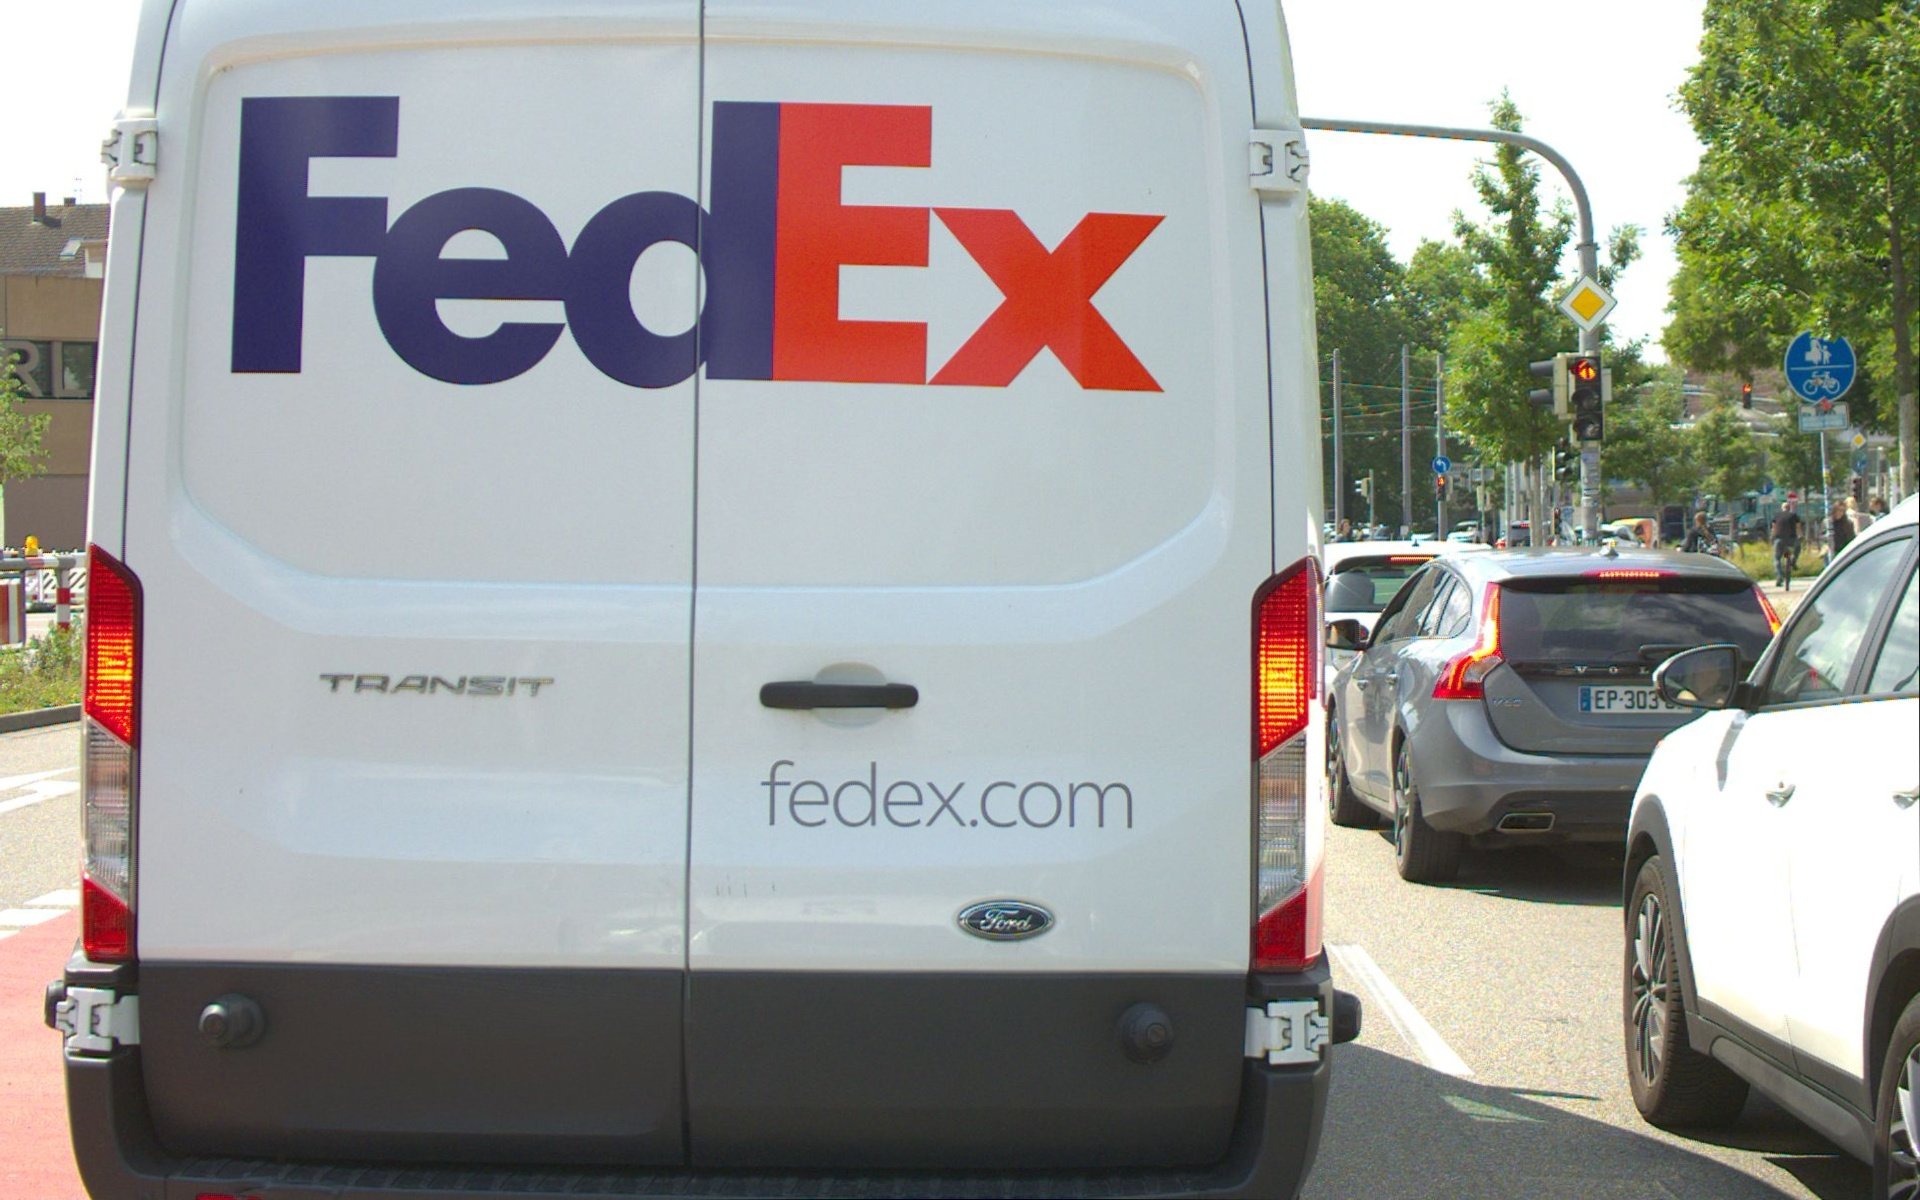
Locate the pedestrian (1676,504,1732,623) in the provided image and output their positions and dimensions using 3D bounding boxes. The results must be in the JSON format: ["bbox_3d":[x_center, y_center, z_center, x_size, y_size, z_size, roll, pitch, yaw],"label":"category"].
[{"bbox_3d":[11.571,-0.573,53.475,0.759,1.843,0.815,0,1,18],"label":"pedestrian"}]

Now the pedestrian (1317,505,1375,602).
[{"bbox_3d":[7.485,-0.906,66.698,0.759,1.843,0.816,-2,2,-37],"label":"pedestrian"}]

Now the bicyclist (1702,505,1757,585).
[{"bbox_3d":[21.086,-1.509,94.189,1.433,2.164,1.338,0,1,15],"label":"bicyclist"}]

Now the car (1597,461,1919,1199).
[{"bbox_3d":[2.579,0.558,7.177,1.814,1.673,3.974,0,1,1],"label":"car"}]

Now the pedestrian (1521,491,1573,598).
[{"bbox_3d":[10.234,-0.966,59.955,0.813,1.843,0.761,0,1,3],"label":"pedestrian"}]

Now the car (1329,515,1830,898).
[{"bbox_3d":[2.728,0.391,15.890,1.691,1.543,3.720,0,1,1],"label":"car"}]

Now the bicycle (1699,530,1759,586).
[{"bbox_3d":[21.125,-1.171,94.361,1.426,1.459,4.308,0,2,15],"label":"bicycle"}]

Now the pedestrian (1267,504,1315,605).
[{"bbox_3d":[6.132,-0.849,63.641,0.758,1.843,0.816,-1,1,-3],"label":"pedestrian"}]

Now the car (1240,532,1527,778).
[{"bbox_3d":[2.710,0.301,22.589,1.499,1.459,3.474,0,1,1],"label":"car"}]

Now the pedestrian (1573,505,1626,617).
[{"bbox_3d":[10.544,-0.648,56.679,0.759,1.843,0.815,0,1,18],"label":"pedestrian"}]

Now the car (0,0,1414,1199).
[{"bbox_3d":[-0.354,0.071,7.161,2.072,2.572,4.428,0,1,1],"label":"car"}]

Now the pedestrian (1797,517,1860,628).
[{"bbox_3d":[13.070,-0.418,51.749,0.759,1.649,0.816,-1,1,3],"label":"pedestrian"}]

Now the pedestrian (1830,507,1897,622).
[{"bbox_3d":[14.614,-0.584,55.600,0.758,1.843,0.816,-1,1,-10],"label":"pedestrian"}]

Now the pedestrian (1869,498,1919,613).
[{"bbox_3d":[15.340,-0.731,56.005,0.758,1.843,0.816,-1,1,-8],"label":"pedestrian"}]

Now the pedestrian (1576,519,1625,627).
[{"bbox_3d":[11.001,-0.469,59.039,0.759,1.843,0.816,0,1,15],"label":"pedestrian"}]

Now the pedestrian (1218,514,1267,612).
[{"bbox_3d":[5.338,-0.705,64.944,0.759,1.843,0.815,0,1,18],"label":"pedestrian"}]

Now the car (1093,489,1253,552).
[{"bbox_3d":[9.592,-3.553,154.725,7.063,2.708,2.496,1,0,5],"label":"car"}]
